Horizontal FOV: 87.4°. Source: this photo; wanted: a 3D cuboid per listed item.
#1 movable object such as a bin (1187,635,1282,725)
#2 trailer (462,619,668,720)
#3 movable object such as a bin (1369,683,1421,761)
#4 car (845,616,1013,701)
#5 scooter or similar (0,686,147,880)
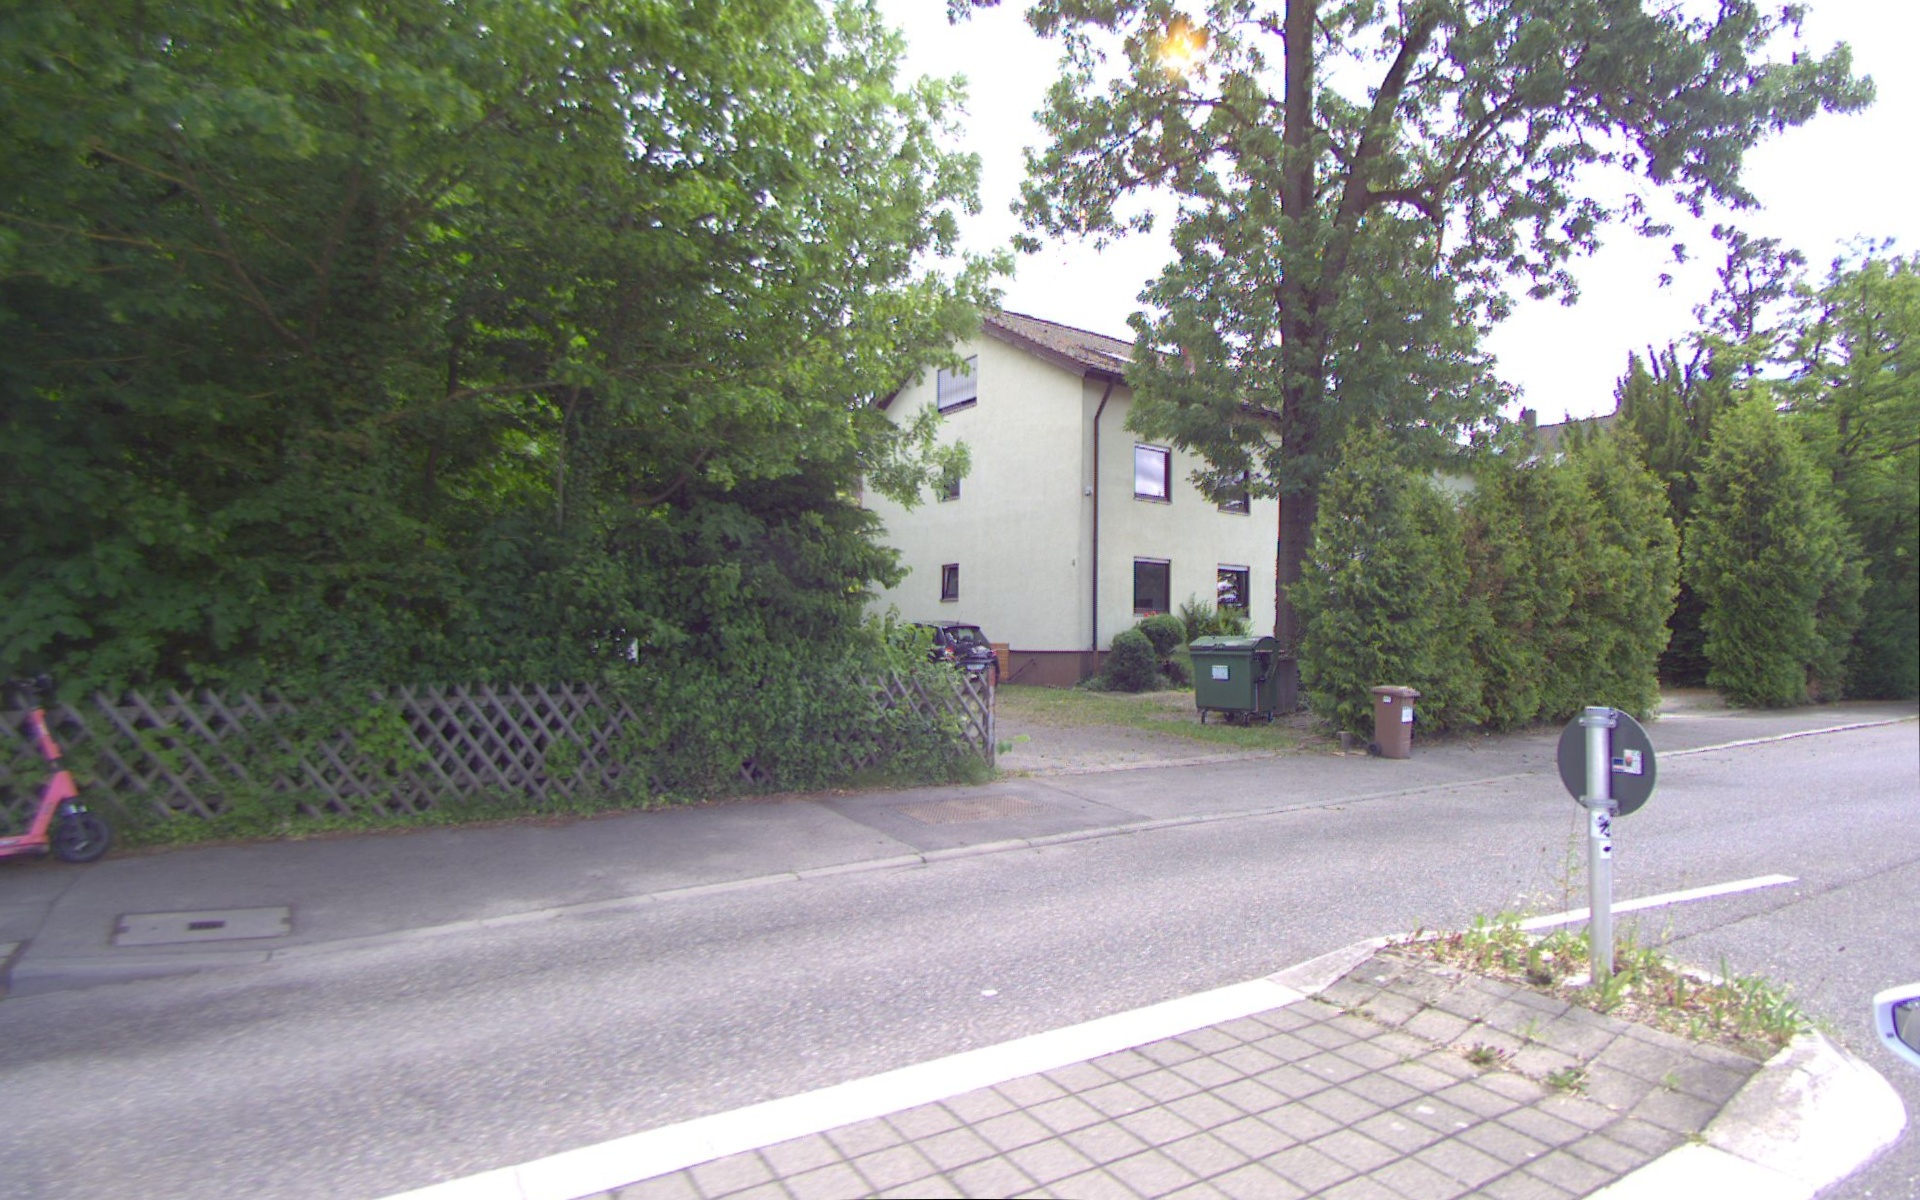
[{"bbox_3d":[4.547,1.294,16.670,1.259,1.419,0.894,-1,-3,43],"label":"movable object such as a bin"},{"bbox_3d":[-6.496,1.055,16.403,3.466,1.461,1.726,-1,-2,41],"label":"trailer"},{"bbox_3d":[5.743,1.601,13.259,0.457,0.942,0.428,4,1,43],"label":"movable object such as a bin"},{"bbox_3d":[-0.782,1.259,22.962,1.868,1.706,3.837,-2,0,-39],"label":"car"},{"bbox_3d":[-5.817,1.113,6.163,0.472,1.095,1.208,1,-1,41],"label":"scooter or similar"}]
